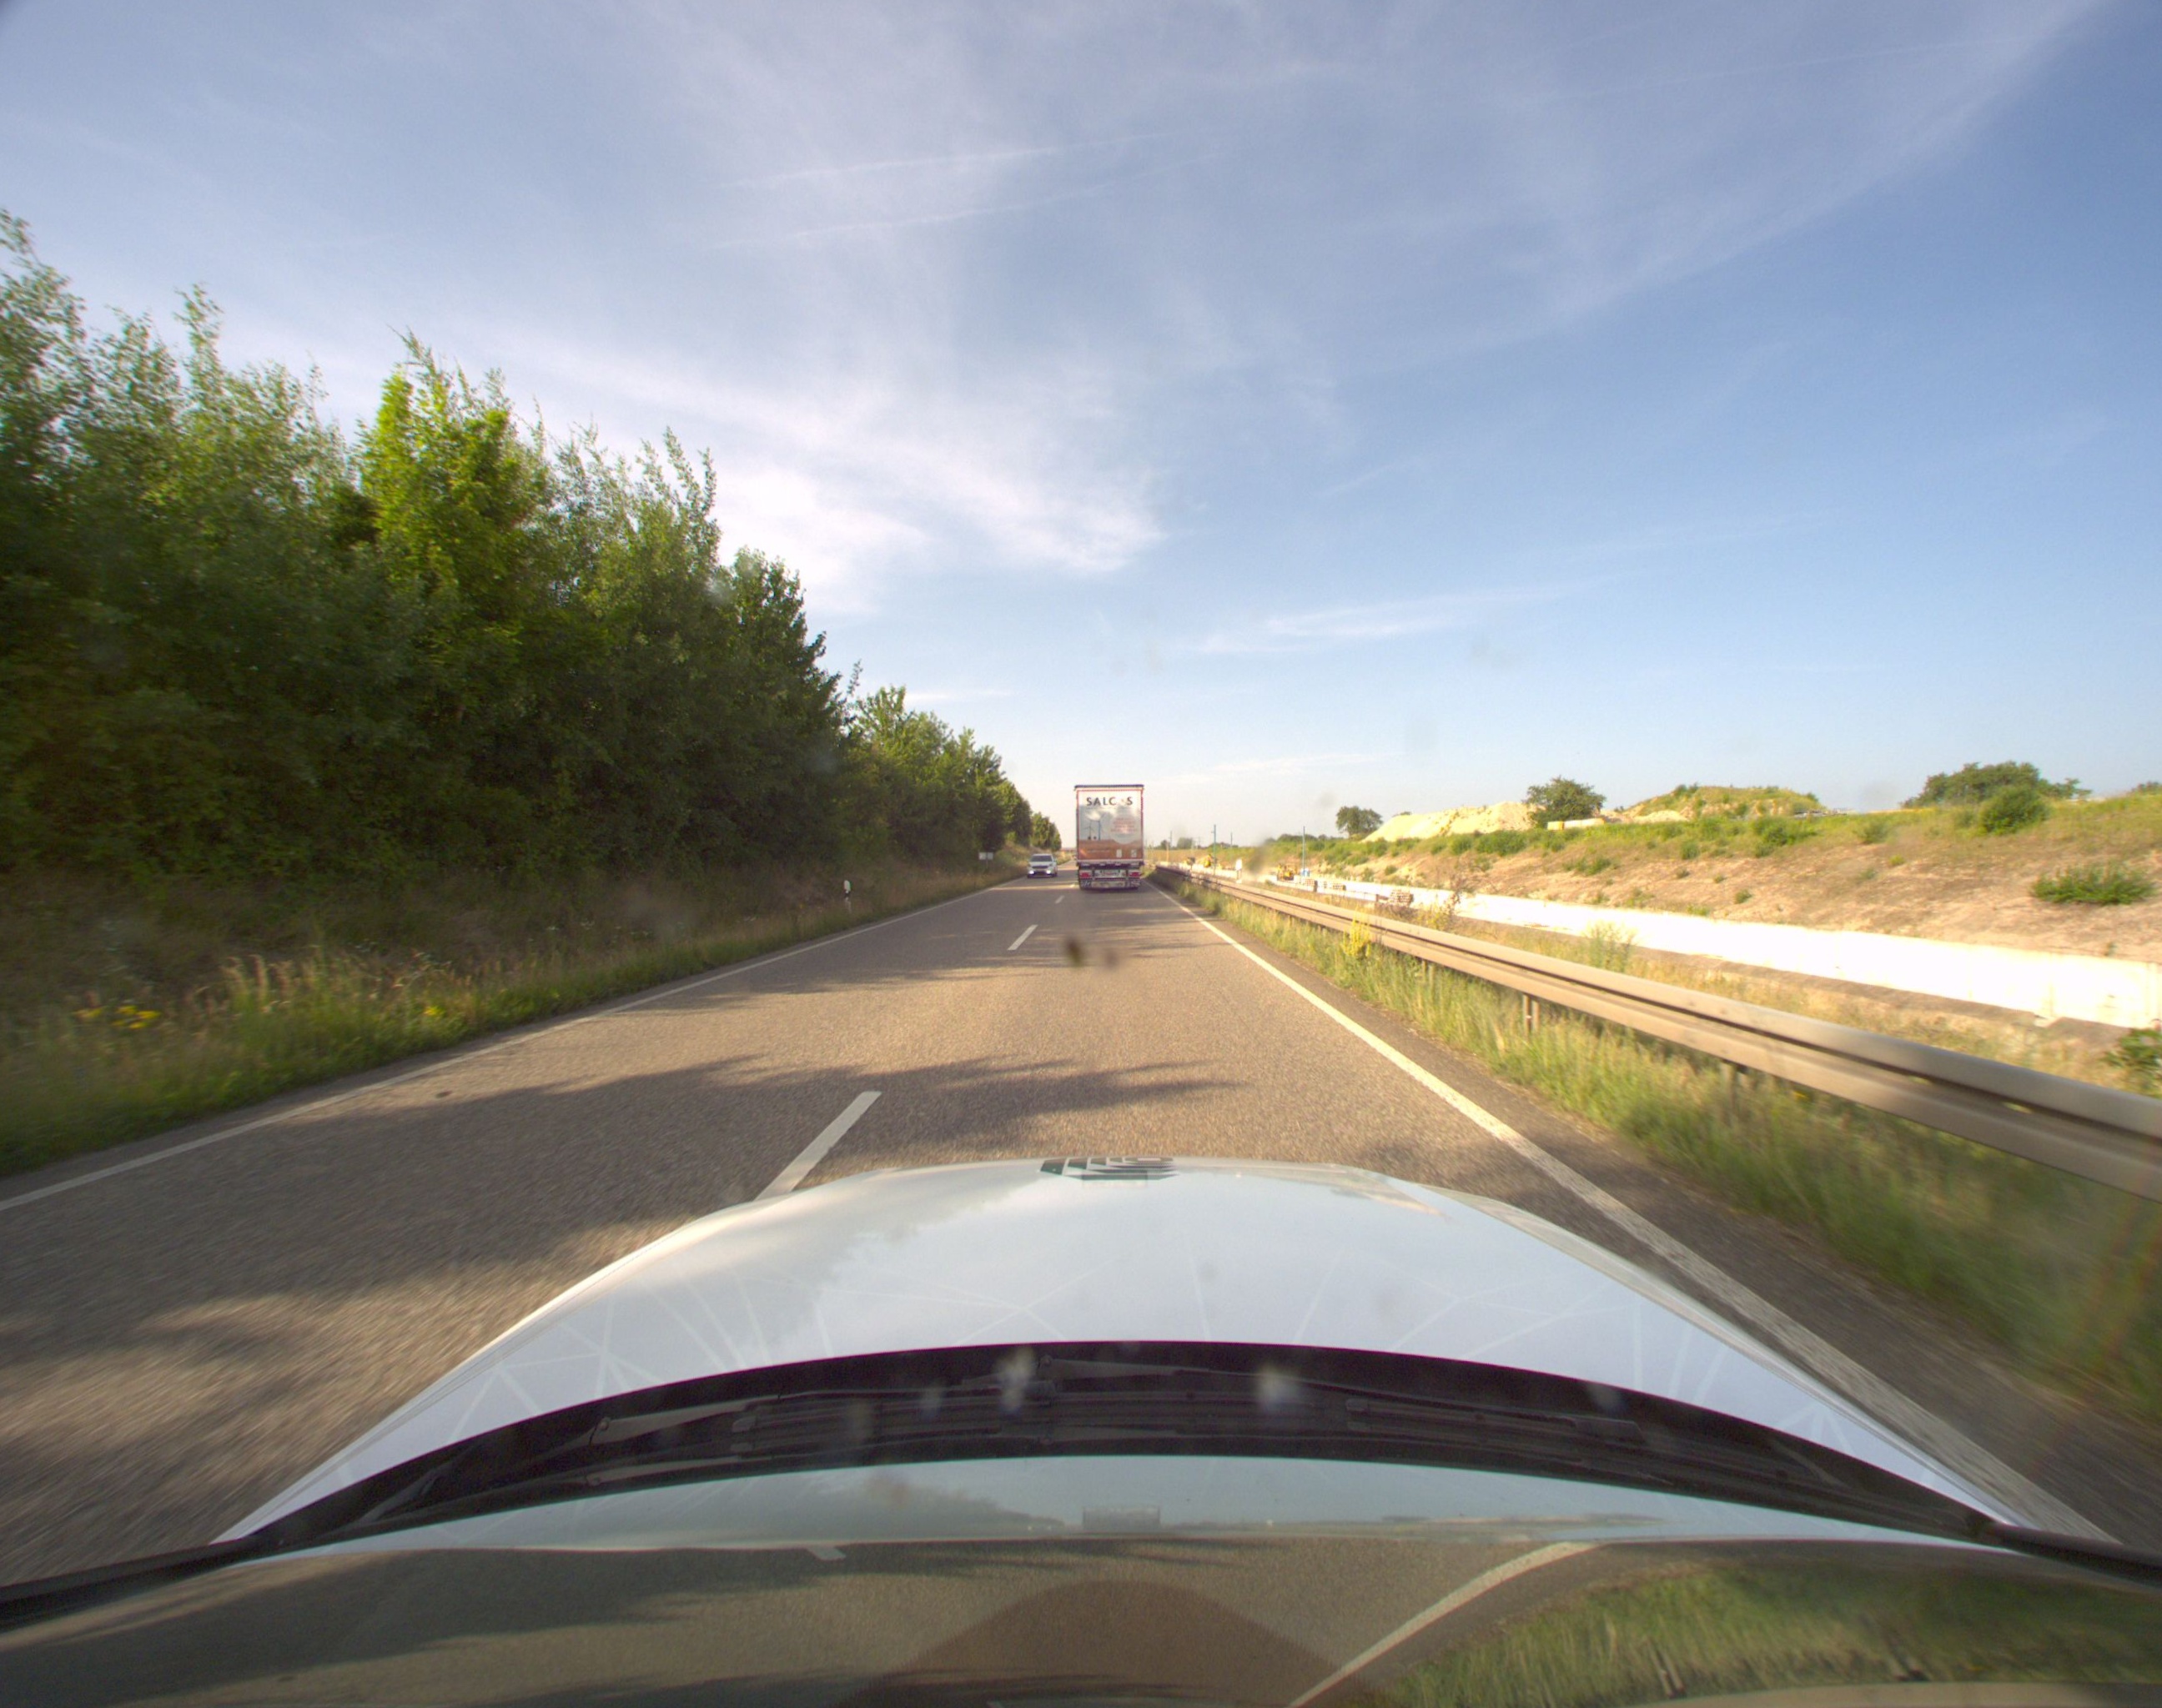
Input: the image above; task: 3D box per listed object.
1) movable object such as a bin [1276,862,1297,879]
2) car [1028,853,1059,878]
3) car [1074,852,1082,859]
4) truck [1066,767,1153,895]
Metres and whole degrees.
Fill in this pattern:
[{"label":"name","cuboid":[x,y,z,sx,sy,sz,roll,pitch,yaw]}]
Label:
[{"label":"movable object such as a bin","cuboid":[33.208,2.684,131.724,2.877,2.661,2.031,-1,0,26]},{"label":"car","cuboid":[-2.415,0.706,53.325,1.738,1.564,4.366,-1,0,1]},{"label":"car","cuboid":[-0.757,0.337,196.208,1.737,1.546,4.313,-2,0,2]},{"label":"truck","cuboid":[1.134,-0.864,34.541,3.142,4.688,8.443,-1,0,1]}]
